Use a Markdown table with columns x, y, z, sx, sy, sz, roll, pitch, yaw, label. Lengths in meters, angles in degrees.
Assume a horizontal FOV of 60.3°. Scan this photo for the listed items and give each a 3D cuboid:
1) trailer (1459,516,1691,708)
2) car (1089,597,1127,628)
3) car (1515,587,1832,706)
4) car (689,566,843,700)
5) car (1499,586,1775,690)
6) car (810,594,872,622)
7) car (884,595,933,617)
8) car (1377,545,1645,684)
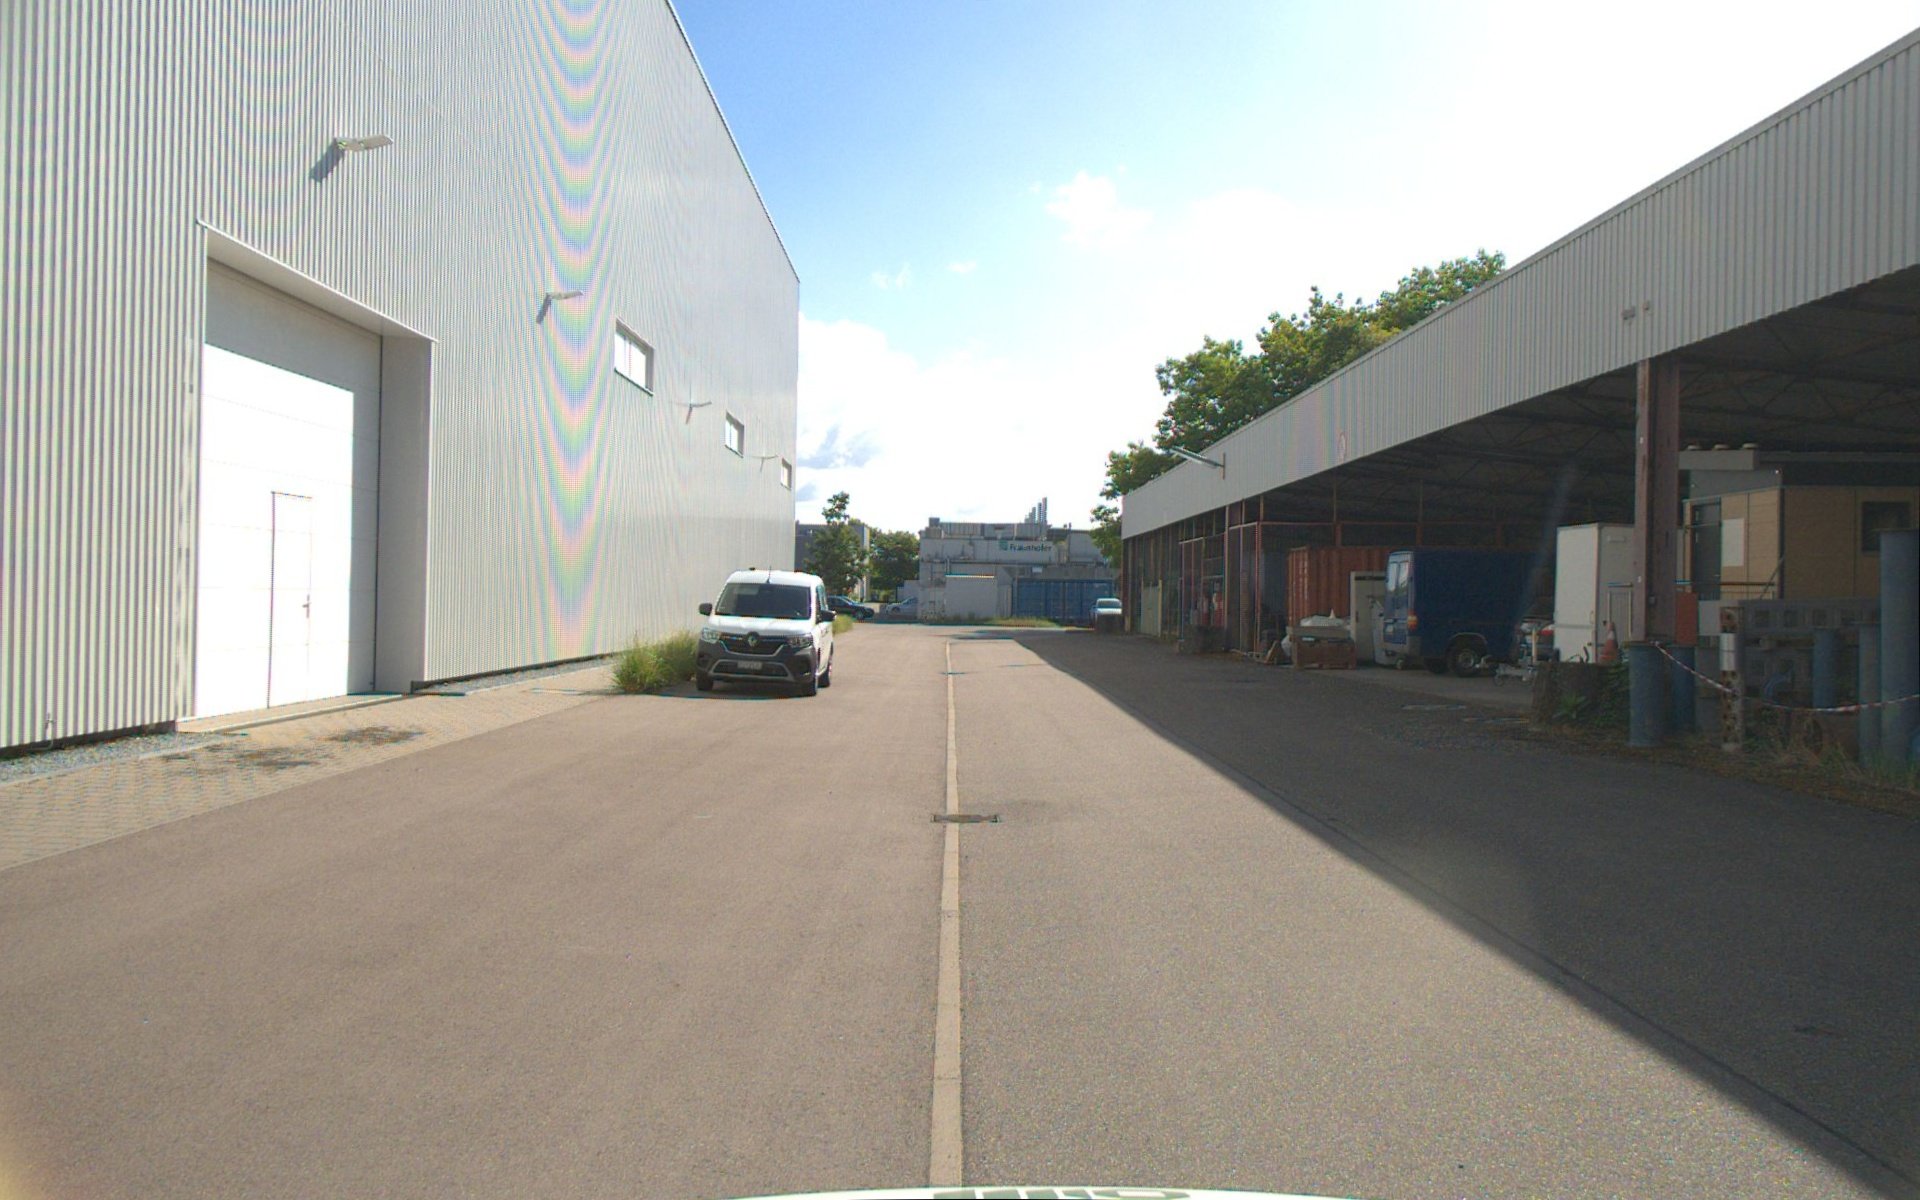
| x | y | z | sx | sy | sz | roll | pitch | yaw | label |
| --- | --- | --- | --- | --- | --- | --- | --- | --- | --- |
| 8.184 | 0.164 | 22.173 | 2.472 | 2.441 | 1.727 | 1 | -1 | 0 | trailer |
| 8.516 | 0.702 | 95.431 | 1.921 | 1.592 | 4.060 | 2 | 1 | 1 | car |
| 10.473 | 0.693 | 24.461 | 3.955 | 1.551 | 1.684 | 2 | -2 | 0 | car |
| -2.897 | 0.445 | 25.509 | 1.781 | 1.818 | 4.405 | 2 | 0 | 0 | car |
| 11.354 | 0.649 | 27.895 | 3.955 | 1.551 | 1.684 | 2 | -2 | 0 | car |
| -7.743 | 0.532 | 107.670 | 3.906 | 1.626 | 1.741 | 2 | -2 | -2 | car |
| -4.204 | 0.493 | 135.588 | 3.906 | 1.626 | 1.847 | 2 | -2 | -2 | car |
| 10.248 | 0.293 | 30.981 | 4.342 | 2.350 | 1.915 | 2 | -2 | 0 | car |
